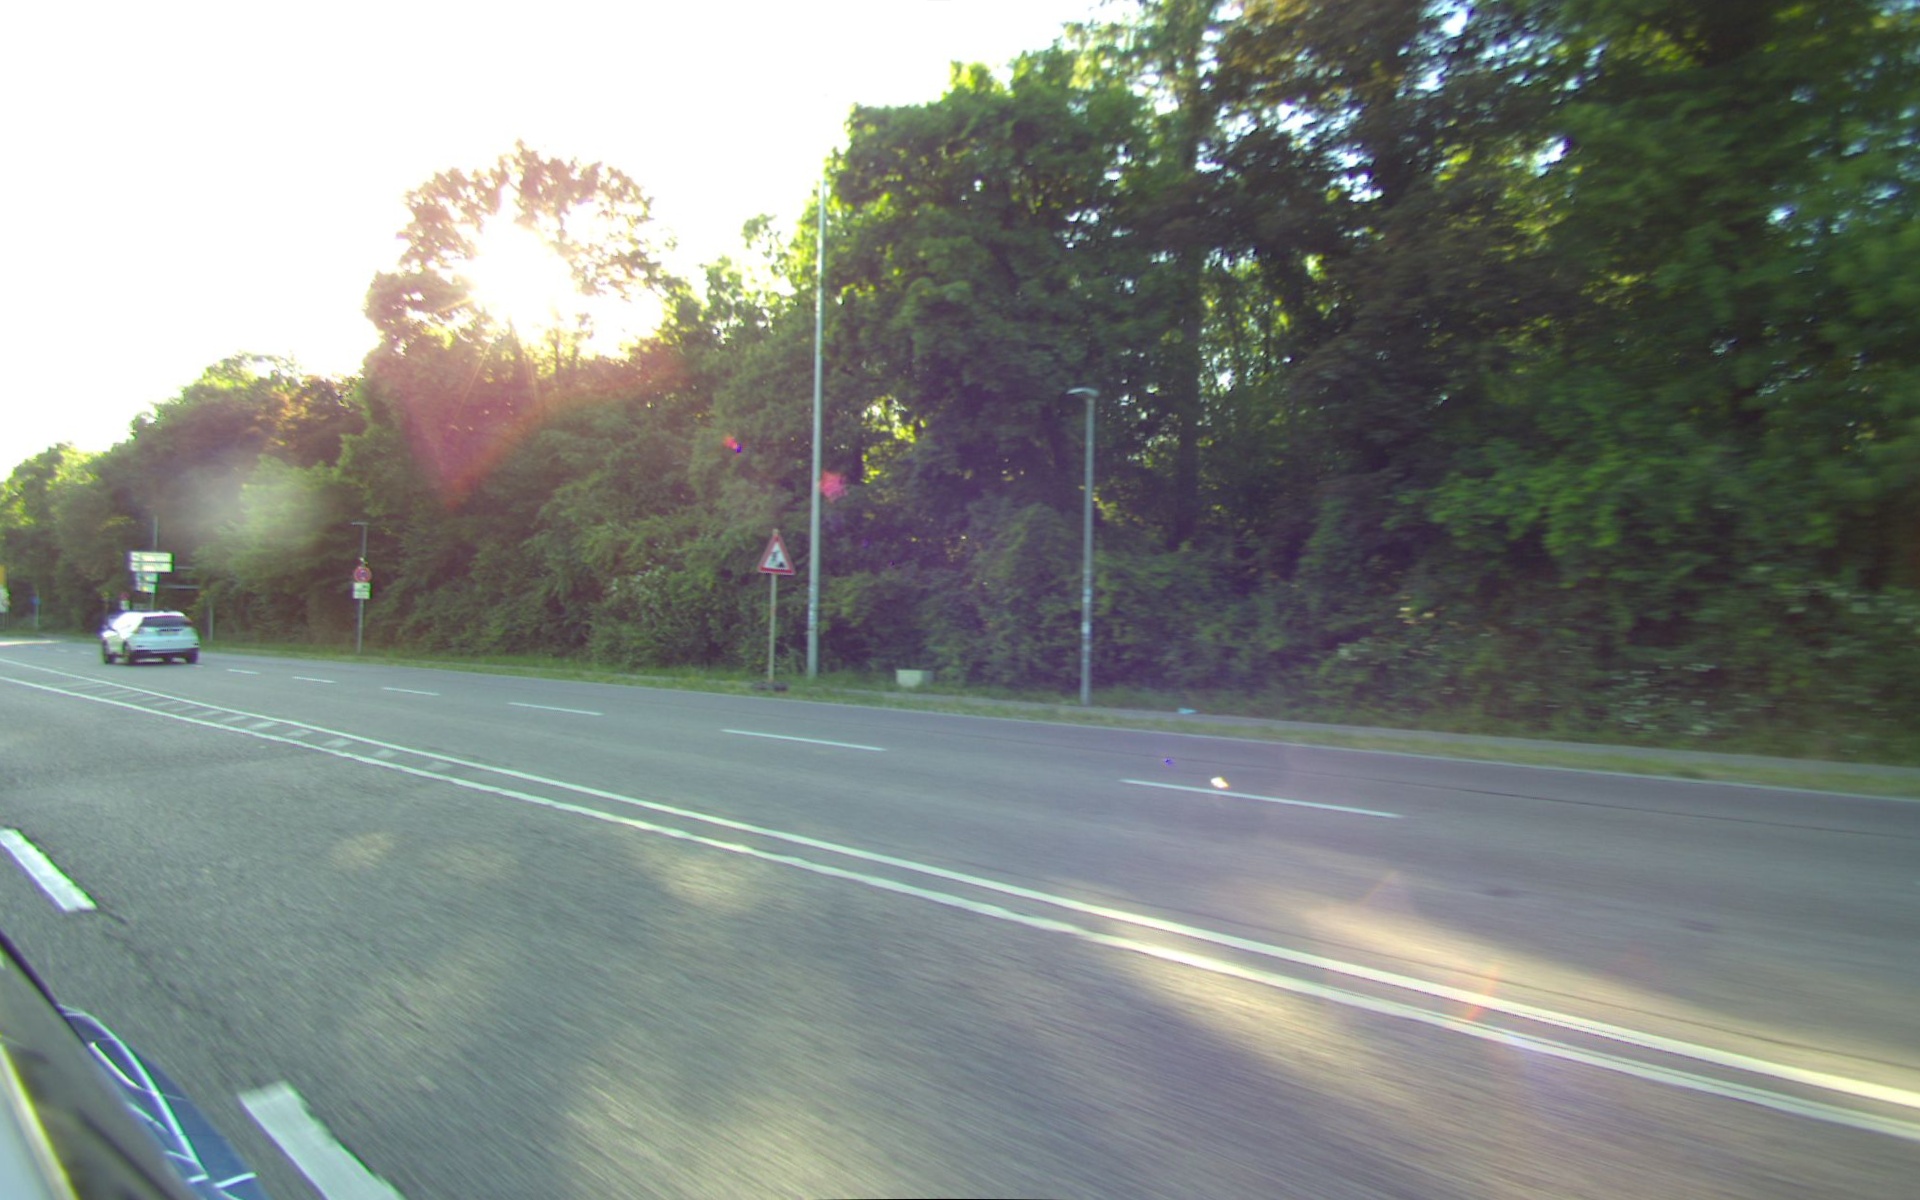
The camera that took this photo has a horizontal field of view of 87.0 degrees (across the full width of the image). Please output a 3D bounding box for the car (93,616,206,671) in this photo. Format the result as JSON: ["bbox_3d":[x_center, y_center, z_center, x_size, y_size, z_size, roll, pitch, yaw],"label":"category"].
[{"bbox_3d":[-26.347,1.367,32.831,4.728,1.676,1.889,-1,-2,39],"label":"car"}]
